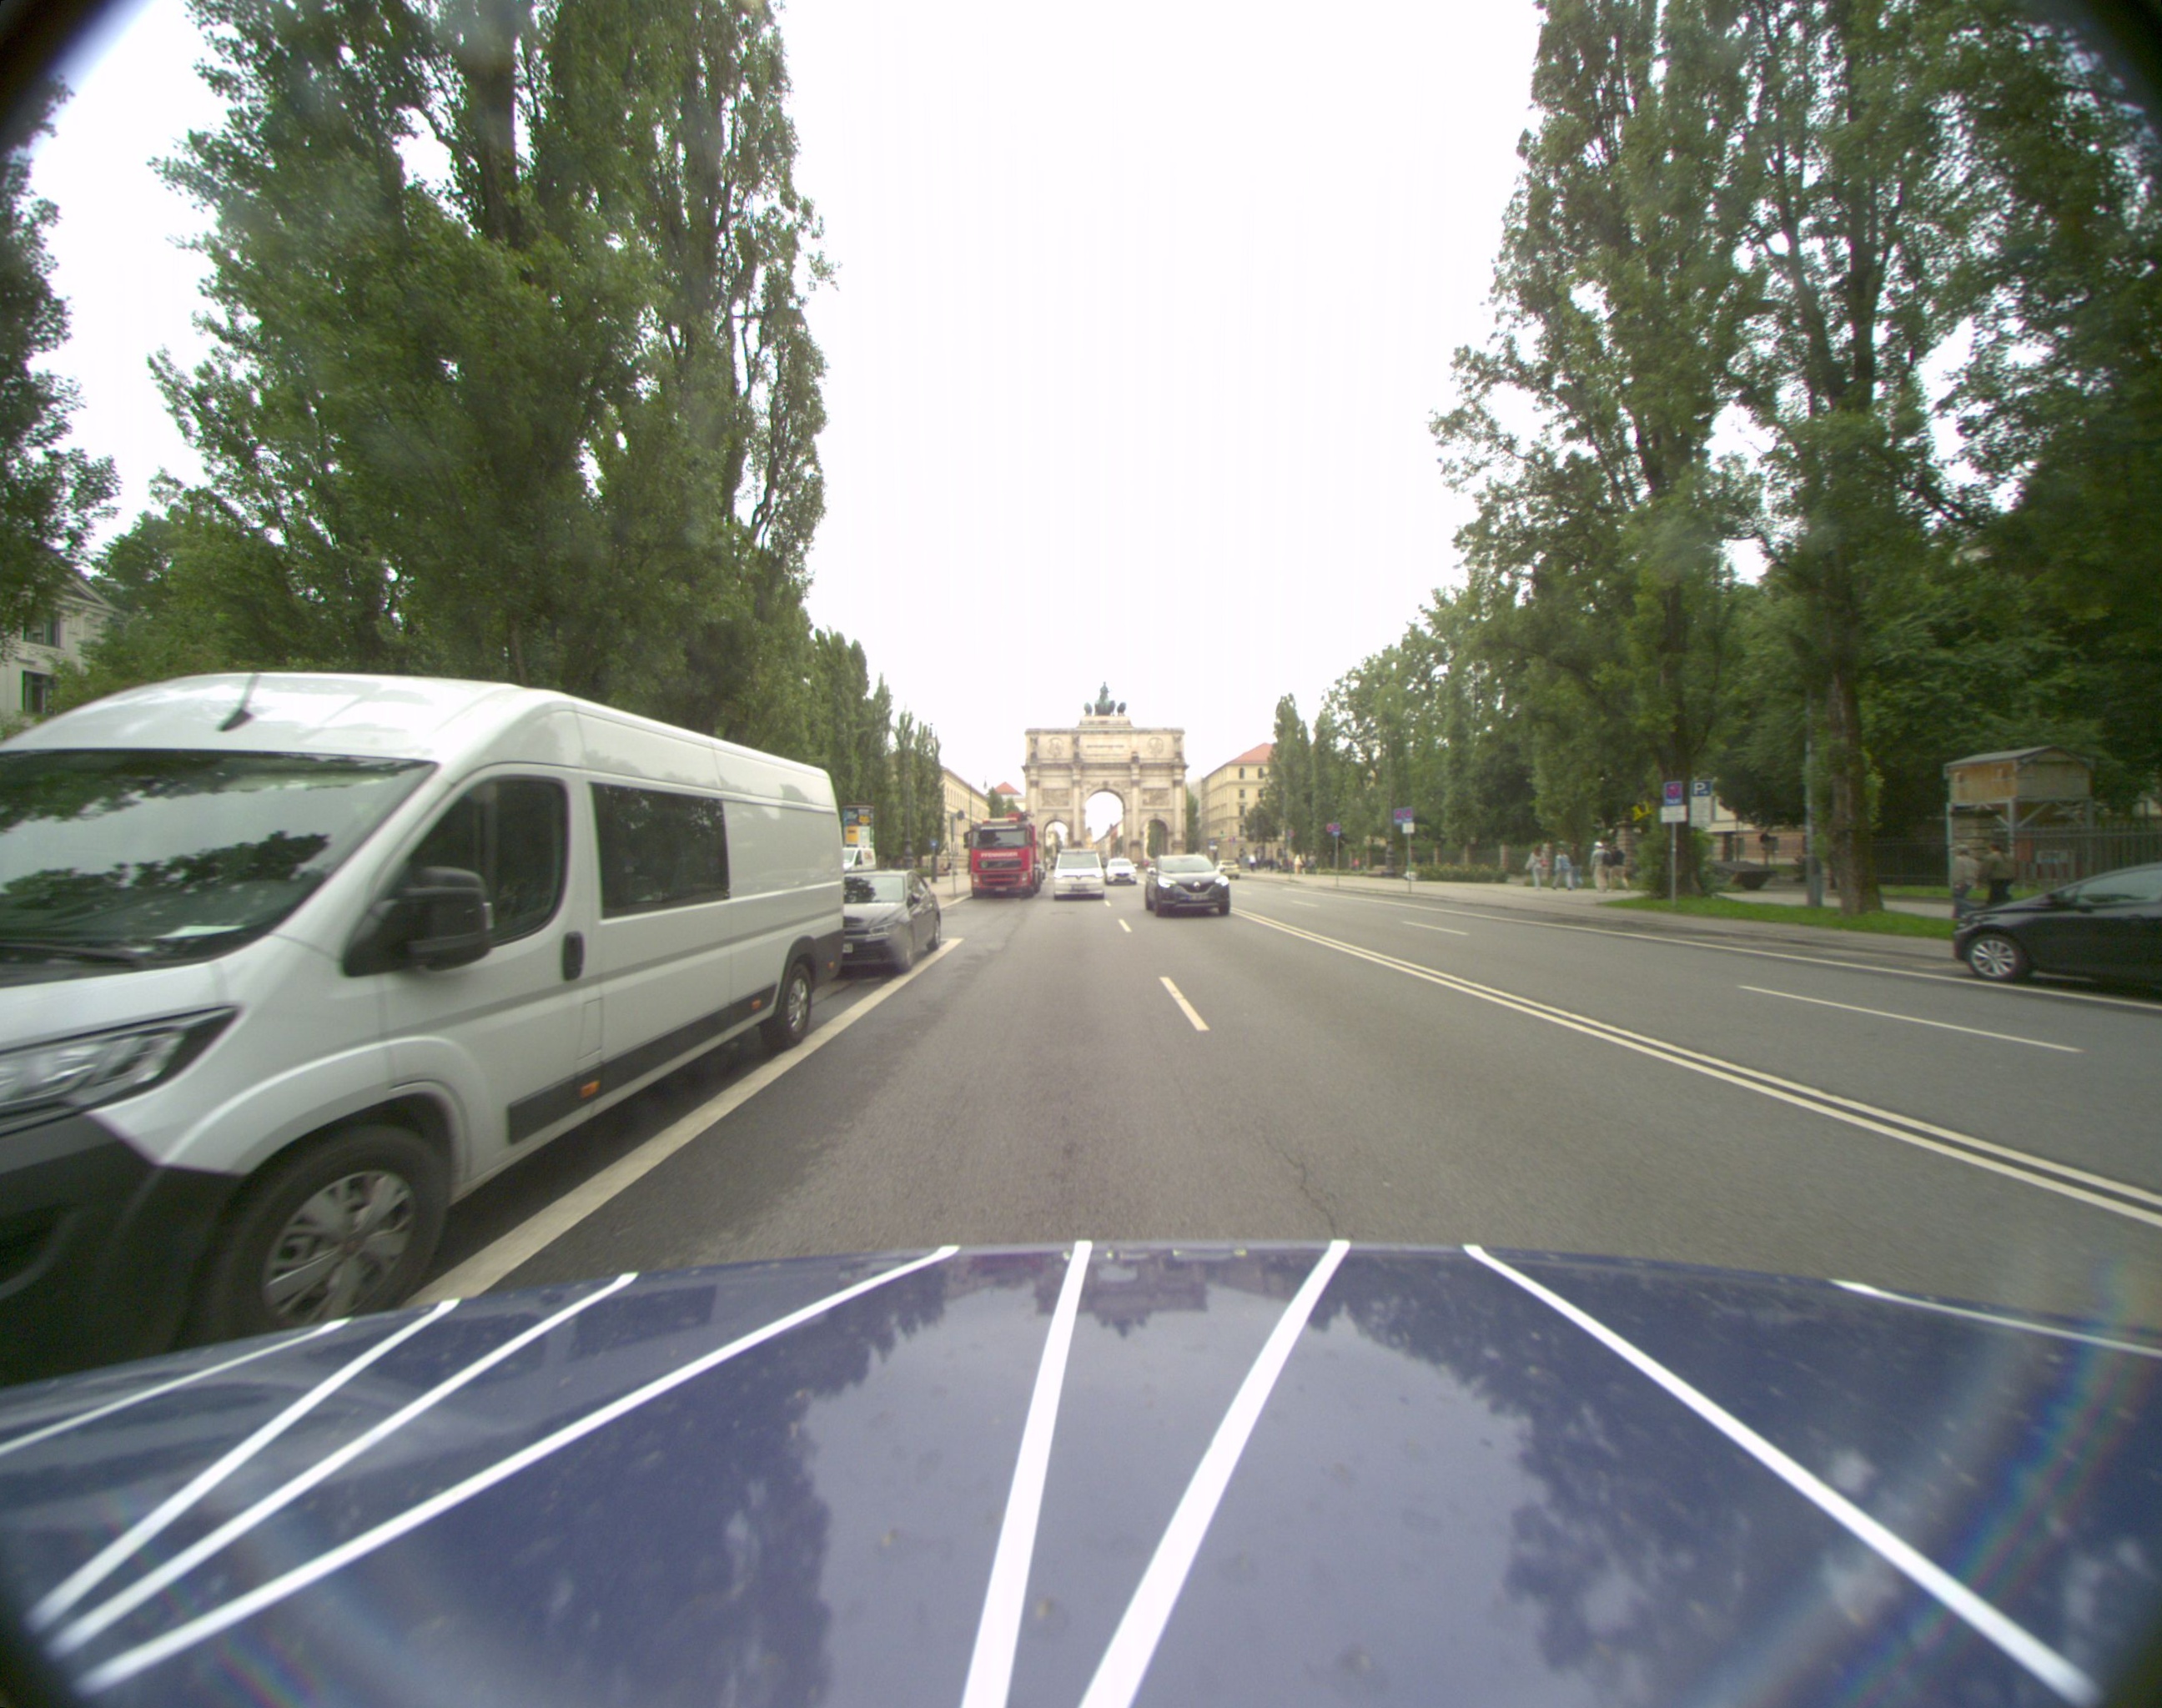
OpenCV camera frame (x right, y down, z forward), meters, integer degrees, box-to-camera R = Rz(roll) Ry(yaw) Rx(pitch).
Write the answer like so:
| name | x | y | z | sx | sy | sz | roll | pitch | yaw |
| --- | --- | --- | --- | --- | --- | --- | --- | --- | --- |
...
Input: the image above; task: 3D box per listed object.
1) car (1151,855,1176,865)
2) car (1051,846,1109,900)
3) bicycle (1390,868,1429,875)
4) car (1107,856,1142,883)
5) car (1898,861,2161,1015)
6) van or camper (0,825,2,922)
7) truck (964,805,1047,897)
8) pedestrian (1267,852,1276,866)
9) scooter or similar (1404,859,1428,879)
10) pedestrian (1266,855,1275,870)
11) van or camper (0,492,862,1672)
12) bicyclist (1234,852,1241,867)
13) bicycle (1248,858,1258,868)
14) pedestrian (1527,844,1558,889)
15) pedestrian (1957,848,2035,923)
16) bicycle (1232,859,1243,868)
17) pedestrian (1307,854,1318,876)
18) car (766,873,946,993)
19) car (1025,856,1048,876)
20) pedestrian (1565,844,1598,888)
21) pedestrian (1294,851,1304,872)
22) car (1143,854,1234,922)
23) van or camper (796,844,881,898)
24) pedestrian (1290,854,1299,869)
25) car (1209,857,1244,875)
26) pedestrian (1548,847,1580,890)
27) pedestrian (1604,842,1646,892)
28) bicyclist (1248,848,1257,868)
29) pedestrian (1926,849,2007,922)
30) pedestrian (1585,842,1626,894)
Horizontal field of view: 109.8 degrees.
| name | x | y | z | sx | sy | sz | roll | pitch | yaw |
| --- | --- | --- | --- | --- | --- | --- | --- | --- | --- |
| car | 14.039 | 1.017 | 130.114 | 2.004 | 1.739 | 3.989 | -1 | 0 | -40 |
| car | -0.007 | 0.704 | 30.692 | 2.064 | 1.916 | 5.728 | -1 | 0 | 1 |
| bicycle | 22.621 | 1.231 | 52.323 | 2.219 | 0.450 | 1.339 | 0 | -1 | -23 |
| car | 2.532 | 0.876 | 45.288 | 1.910 | 1.516 | 4.009 | -1 | 0 | 1 |
| car | 12.225 | 0.903 | 8.255 | 1.949 | 1.574 | 4.389 | 1 | 0 | 0 |
| van or camper | -32.617 | 0.557 | 19.973 | 5.223 | 2.690 | 2.249 | -1 | 0 | 0 |
| truck | -3.199 | -0.081 | 34.979 | 2.852 | 3.543 | 10.278 | -1 | 0 | -1 |
| pedestrian | 23.072 | 0.626 | 91.974 | 0.958 | 1.708 | 1.032 | -2 | 1 | 22 |
| scooter or similar | 21.052 | 0.936 | 47.790 | 0.747 | 1.171 | 1.416 | 1 | 0 | -5 |
| pedestrian | 21.643 | 0.955 | 86.751 | 0.959 | 1.708 | 1.031 | -2 | 1 | 12 |
| van or camper | -3.389 | 0.496 | 4.750 | 2.144 | 2.525 | 6.417 | -1 | 0 | 0 |
| bicyclist | 16.702 | 0.568 | 81.084 | 0.647 | 1.582 | 0.661 | -2 | 0 | -2 |
| bicycle | 15.856 | 0.805 | 70.150 | 0.470 | 0.947 | 1.913 | -2 | 0 | -1 |
| pedestrian | 18.112 | 0.493 | 29.841 | 0.631 | 1.737 | 0.908 | -1 | 0 | -1 |
| pedestrian | 19.859 | 0.669 | 16.503 | 0.720 | 1.595 | 0.813 | -1 | 0 | -1 |
| bicycle | 16.733 | 0.982 | 81.136 | 0.674 | 0.947 | 1.913 | -2 | 0 | -1 |
| pedestrian | 17.540 | 0.832 | 57.569 | 0.533 | 1.720 | 0.583 | -1 | 0 | -11 |
| car | -3.244 | 1.065 | 11.762 | 1.680 | 1.412 | 3.999 | -1 | 0 | -2 |
| car | -3.687 | 0.959 | 62.585 | 1.847 | 1.597 | 4.366 | -1 | 0 | -5 |
| pedestrian | 19.729 | 0.462 | 29.967 | 0.661 | 1.706 | 0.911 | -1 | 0 | -1 |
| pedestrian | 17.595 | 0.609 | 61.376 | 0.533 | 1.720 | 0.583 | -1 | 0 | -11 |
| car | 2.759 | 0.813 | 20.338 | 1.840 | 1.576 | 4.185 | -2 | 0 | 1 |
| van or camper | -9.952 | 0.660 | 31.651 | 2.009 | 2.002 | 4.985 | -2 | 0 | -2 |
| pedestrian | 26.734 | 0.934 | 95.120 | 0.990 | 1.860 | 1.031 | -2 | 1 | 10 |
| car | 11.450 | 0.909 | 60.073 | 1.797 | 1.329 | 4.467 | -1 | 1 | -2 |
| pedestrian | 18.996 | 0.563 | 29.922 | 0.689 | 1.690 | 0.885 | -1 | 0 | -1 |
| pedestrian | 19.833 | 0.451 | 27.736 | 0.711 | 1.762 | 1.092 | -2 | 1 | -1 |
| bicyclist | 15.816 | 0.363 | 70.118 | 0.591 | 1.812 | 0.661 | -2 | 0 | -2 |
| pedestrian | 19.129 | 0.667 | 16.433 | 0.720 | 1.539 | 0.875 | -1 | 0 | -1 |
| pedestrian | 19.111 | 0.495 | 27.715 | 0.711 | 1.823 | 1.092 | -2 | 1 | -1 |
